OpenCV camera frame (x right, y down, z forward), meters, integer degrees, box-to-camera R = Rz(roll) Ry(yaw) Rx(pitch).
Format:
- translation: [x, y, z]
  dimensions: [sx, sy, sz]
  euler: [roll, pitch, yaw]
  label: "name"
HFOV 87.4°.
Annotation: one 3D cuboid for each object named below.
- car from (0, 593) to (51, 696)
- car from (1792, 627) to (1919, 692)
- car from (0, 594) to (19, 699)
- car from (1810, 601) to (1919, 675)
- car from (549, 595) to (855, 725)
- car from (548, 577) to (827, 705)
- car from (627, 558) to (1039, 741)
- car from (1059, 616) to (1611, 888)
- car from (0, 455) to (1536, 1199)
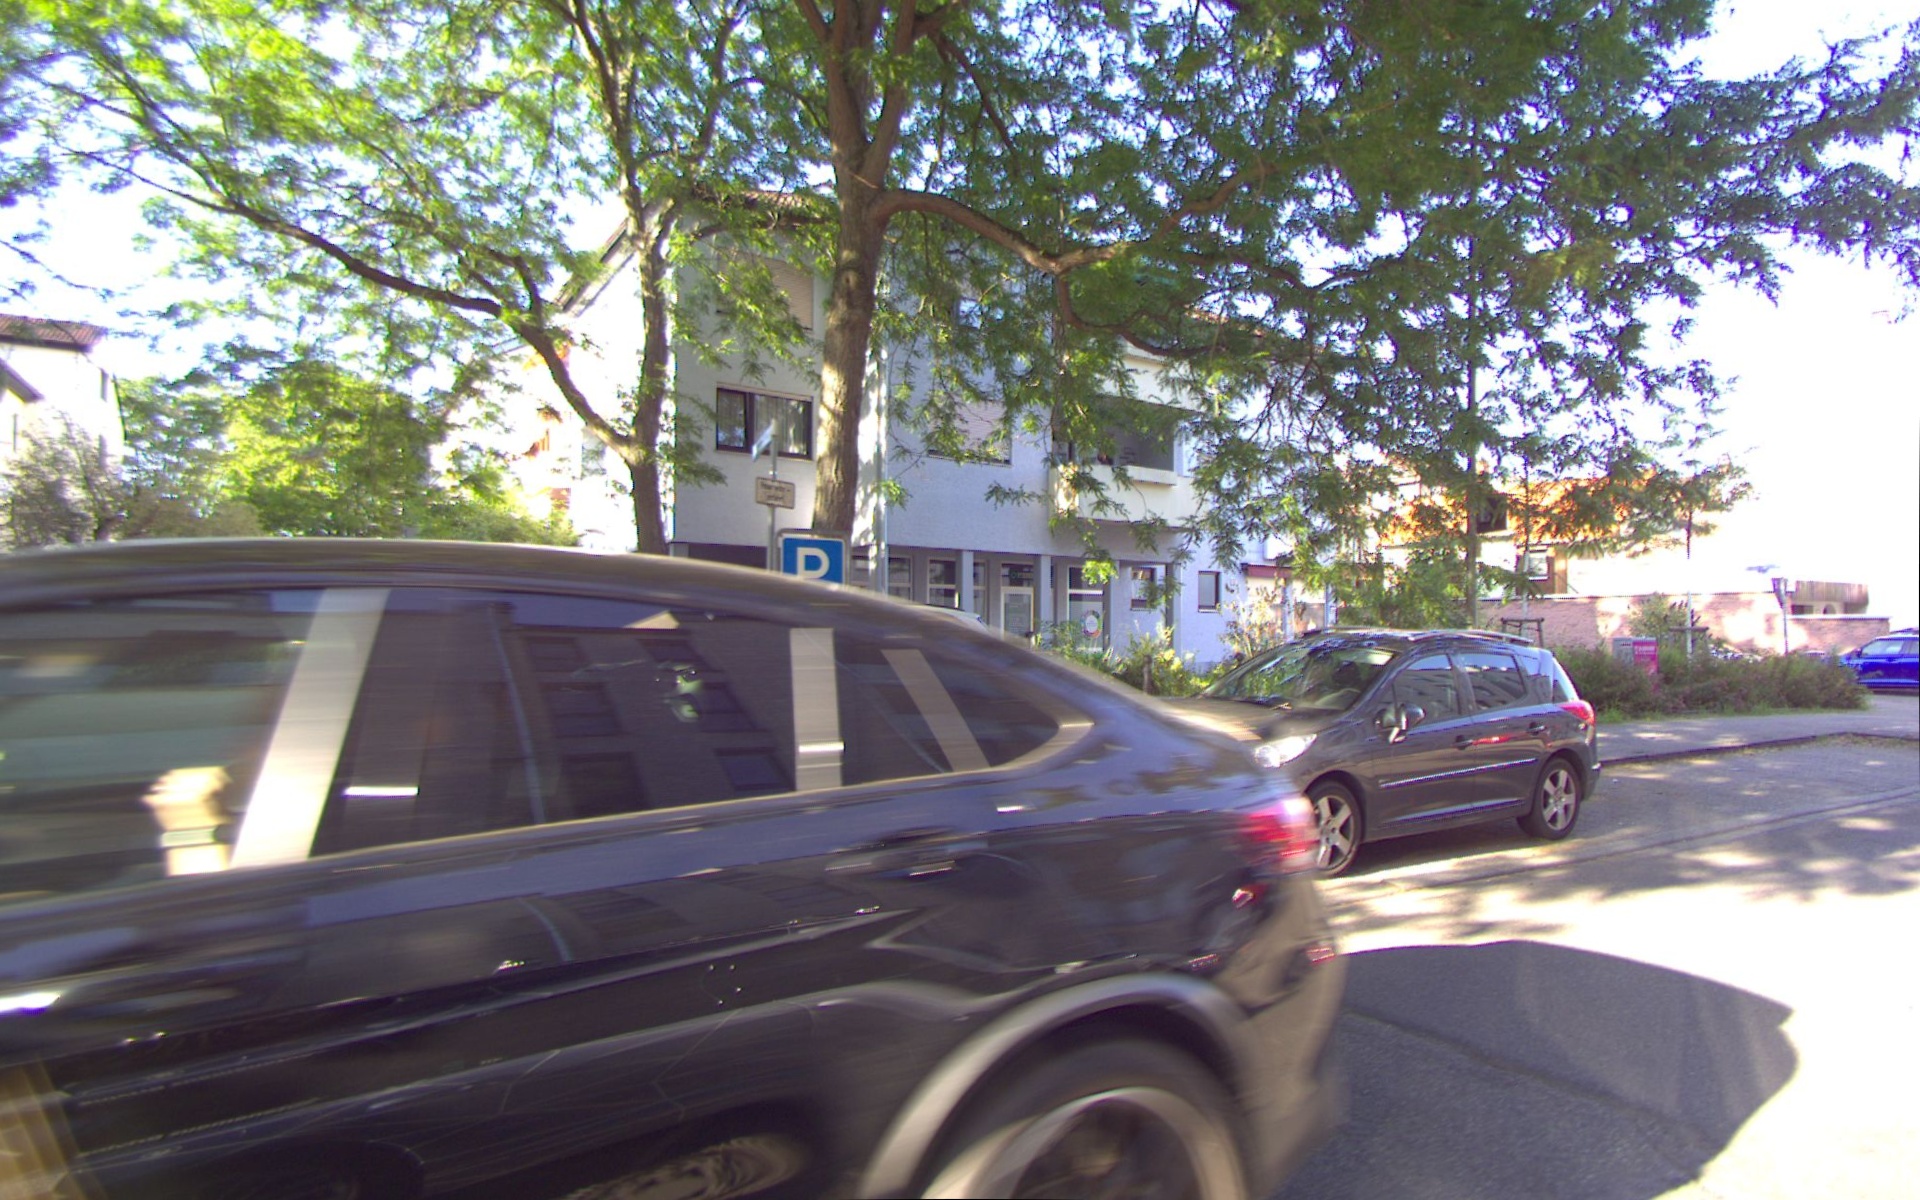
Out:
- translation: [-17.275, 0.664, 15.019]
  dimensions: [5.126, 1.580, 1.929]
  euler: [1, -2, -31]
  label: "car"
- translation: [23.836, 1.484, 25.473]
  dimensions: [1.974, 1.550, 3.754]
  euler: [0, -2, -27]
  label: "car"
- translation: [-15.972, 0.640, 13.320]
  dimensions: [4.780, 1.495, 1.982]
  euler: [1, 1, -33]
  label: "car"
- translation: [26.735, 1.069, 27.878]
  dimensions: [1.962, 1.819, 4.347]
  euler: [-2, 3, -26]
  label: "car"
- translation: [-3.637, 0.786, 14.244]
  dimensions: [3.767, 1.596, 2.063]
  euler: [1, -1, -32]
  label: "car"
- translation: [-4.688, 0.679, 17.615]
  dimensions: [4.290, 1.974, 2.000]
  euler: [1, -1, -41]
  label: "car"
- translation: [-1.481, 0.554, 12.611]
  dimensions: [4.853, 1.920, 1.833]
  euler: [1, -1, -33]
  label: "car"
- translation: [2.815, 0.905, 7.355]
  dimensions: [3.953, 1.511, 1.689]
  euler: [1, -2, -30]
  label: "car"
- translation: [-1.039, 0.693, 1.950]
  dimensions: [4.269, 1.596, 1.929]
  euler: [1, -2, -31]
  label: "car"
